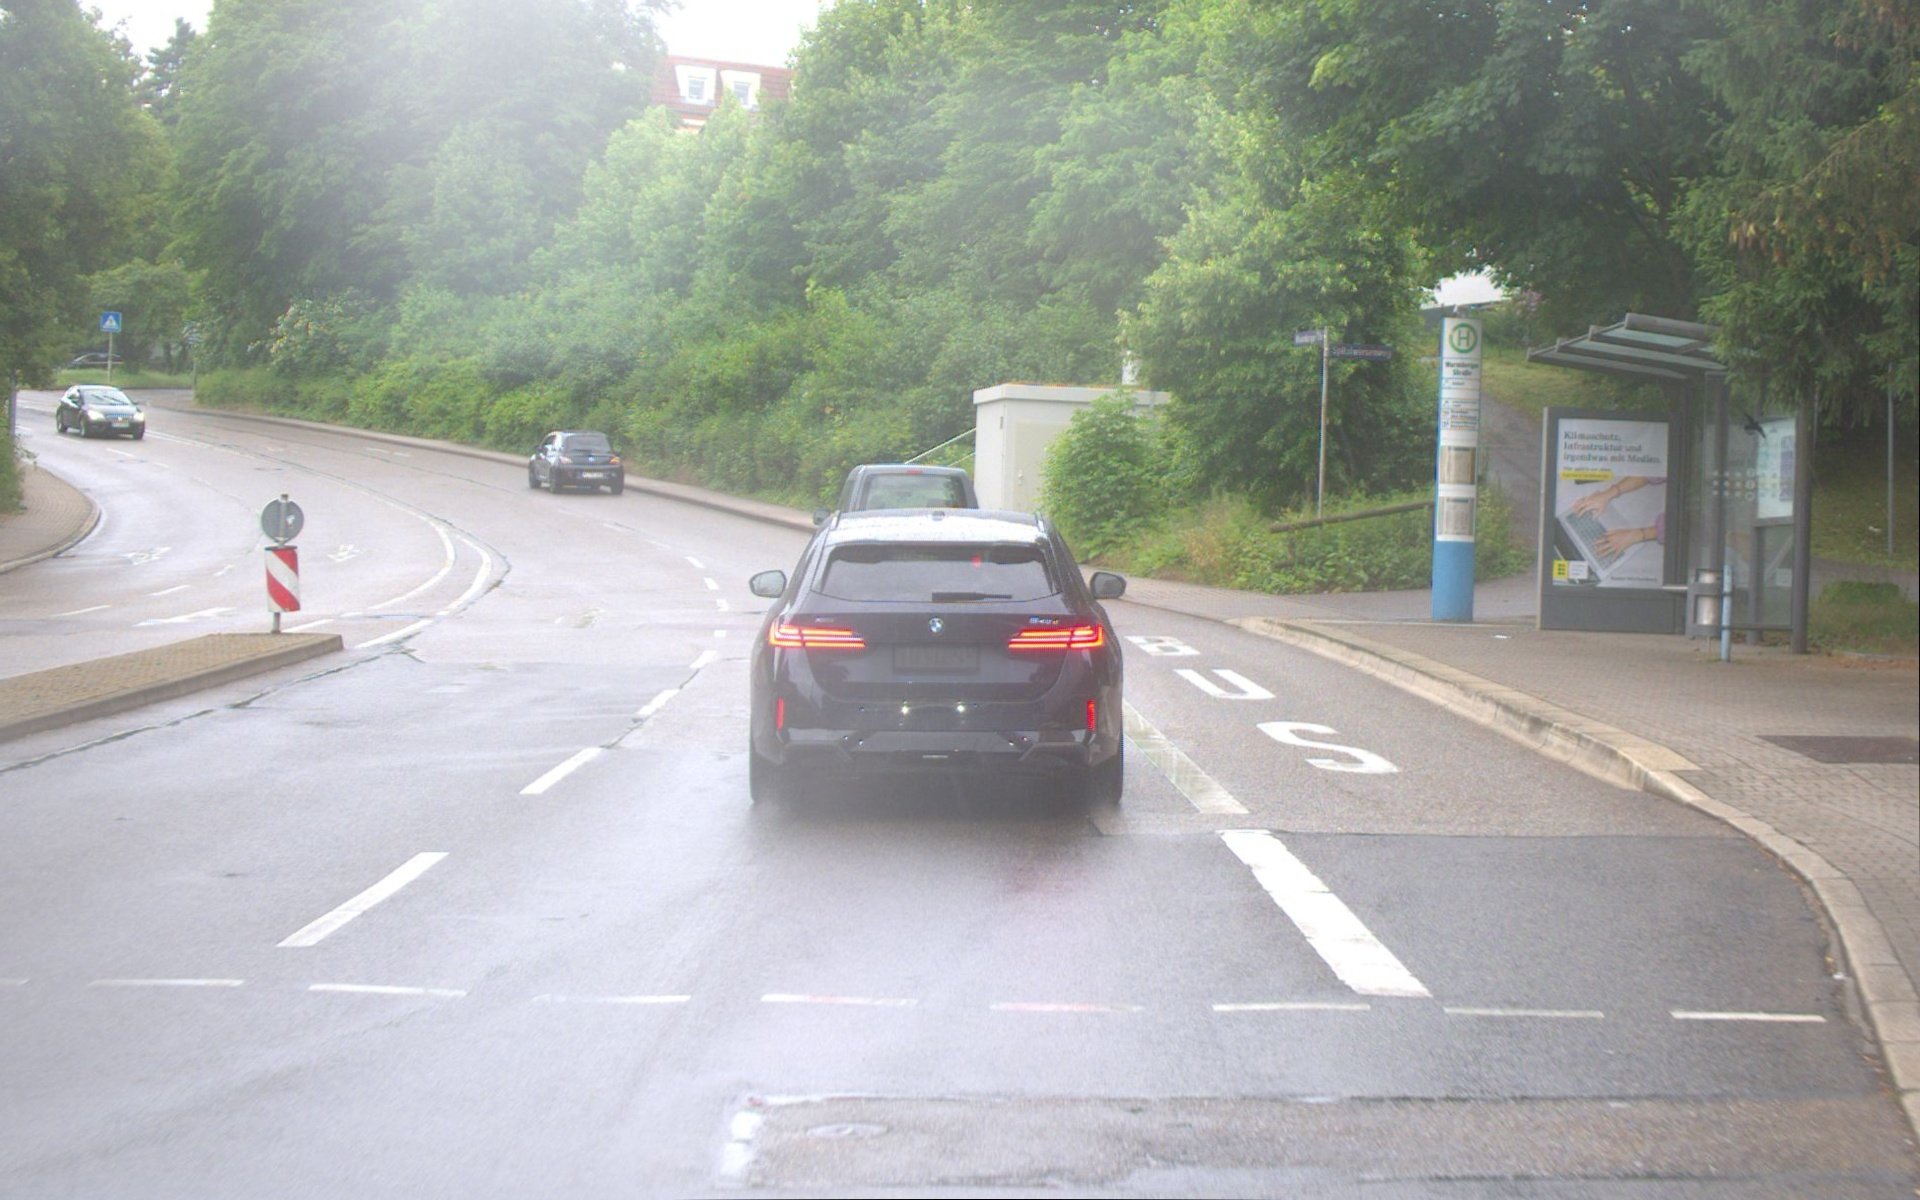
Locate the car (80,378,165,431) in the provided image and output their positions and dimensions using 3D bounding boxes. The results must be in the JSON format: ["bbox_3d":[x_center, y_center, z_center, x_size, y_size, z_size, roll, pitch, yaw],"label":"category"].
[{"bbox_3d":[-24.532,-5.706,100.657,1.891,1.482,4.235,-1,3,-21],"label":"car"}]

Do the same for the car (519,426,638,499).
[{"bbox_3d":[-9.139,-3.273,82.131,1.851,1.656,4.001,1,1,-21],"label":"car"}]

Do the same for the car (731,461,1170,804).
[{"bbox_3d":[-0.194,0.206,18.721,1.993,1.581,4.663,2,-1,-5],"label":"car"}]

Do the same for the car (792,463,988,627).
[{"bbox_3d":[-0.870,-0.682,39.995,1.993,1.742,4.001,0,3,-5],"label":"car"}]
